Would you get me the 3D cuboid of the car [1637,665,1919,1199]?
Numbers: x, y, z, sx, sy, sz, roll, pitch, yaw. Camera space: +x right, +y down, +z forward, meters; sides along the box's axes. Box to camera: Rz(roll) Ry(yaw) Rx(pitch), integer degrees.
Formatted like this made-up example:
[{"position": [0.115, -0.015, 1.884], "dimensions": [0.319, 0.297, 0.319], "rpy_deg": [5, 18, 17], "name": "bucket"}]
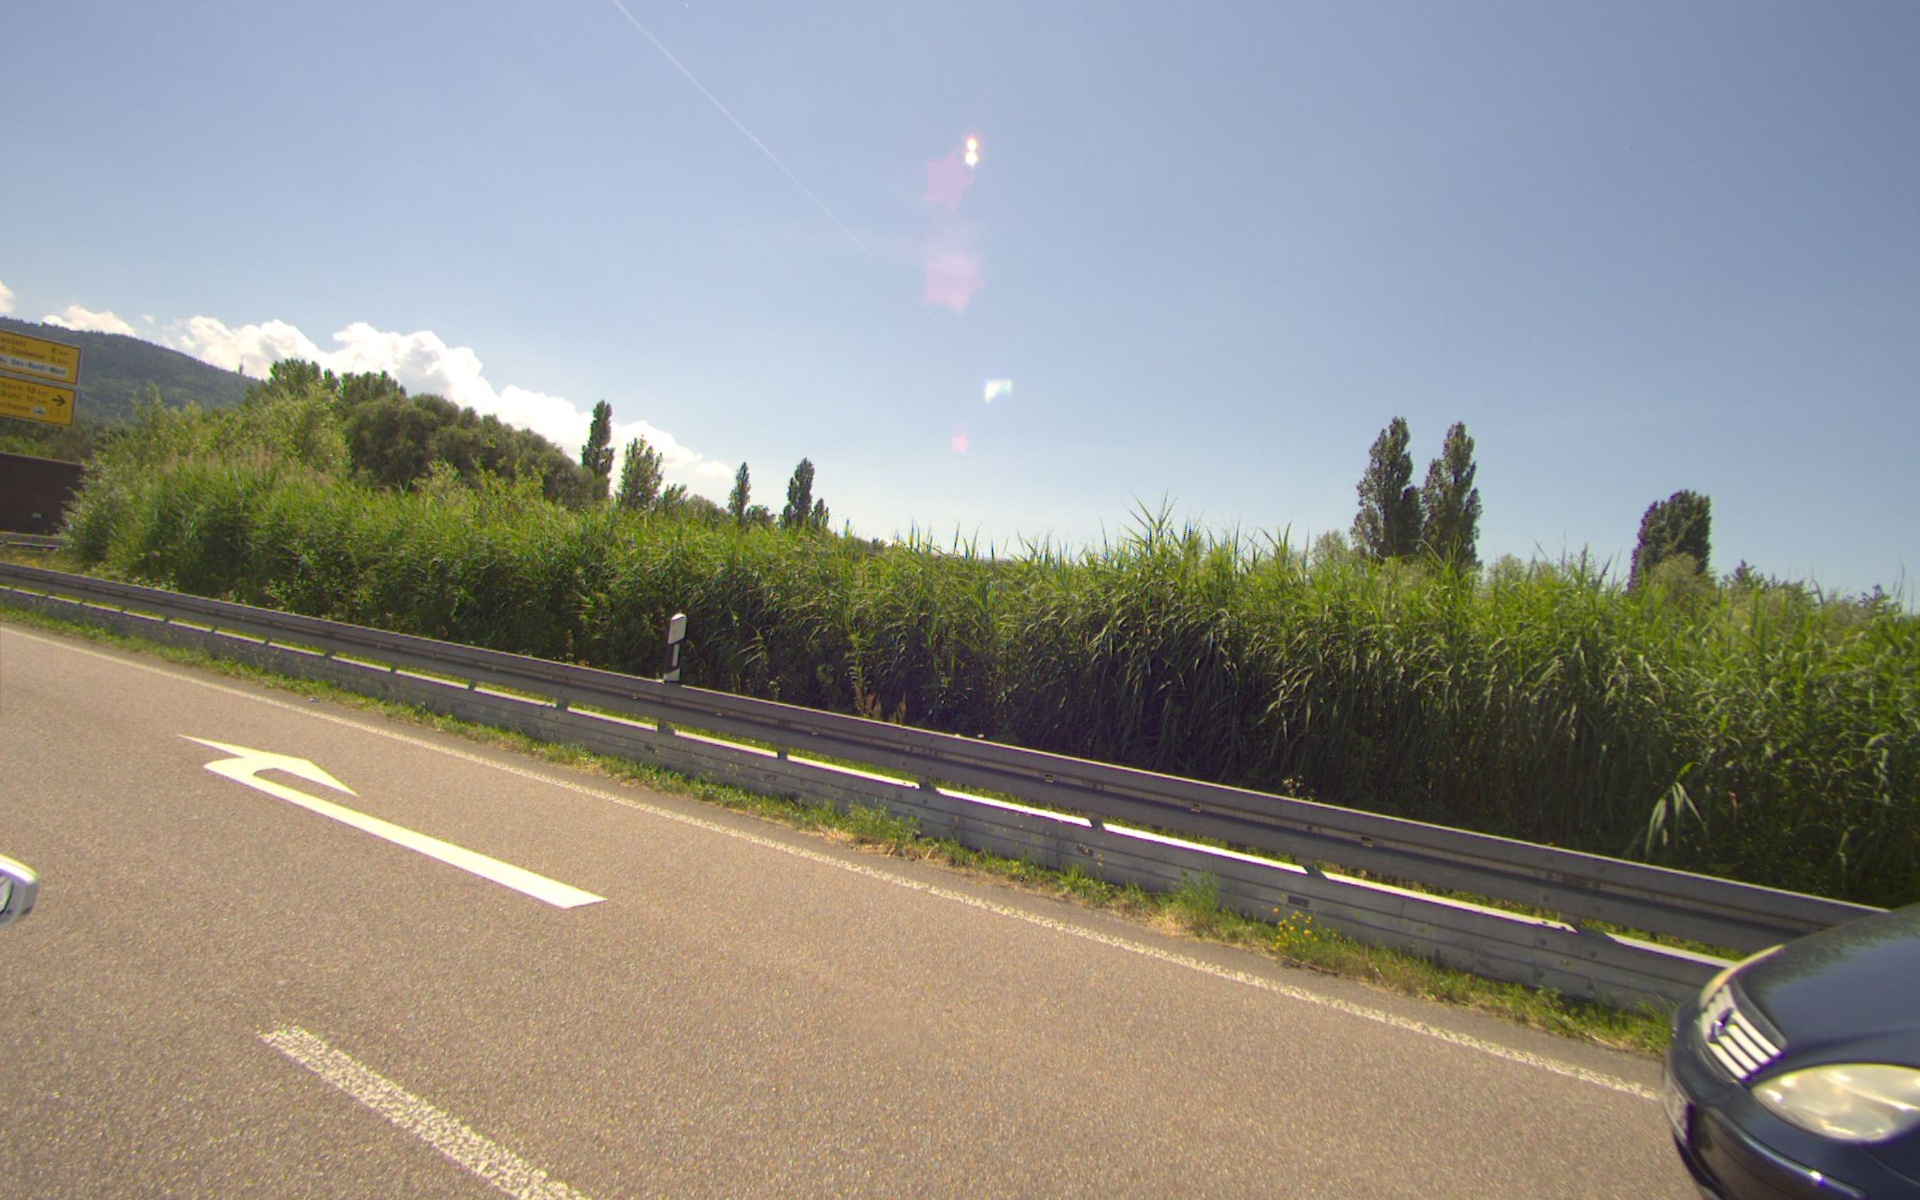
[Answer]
[{"position": [3.634, 1.179, 2.031], "dimensions": [3.493, 1.619, 1.672], "rpy_deg": [6, -2, 30], "name": "car"}]
